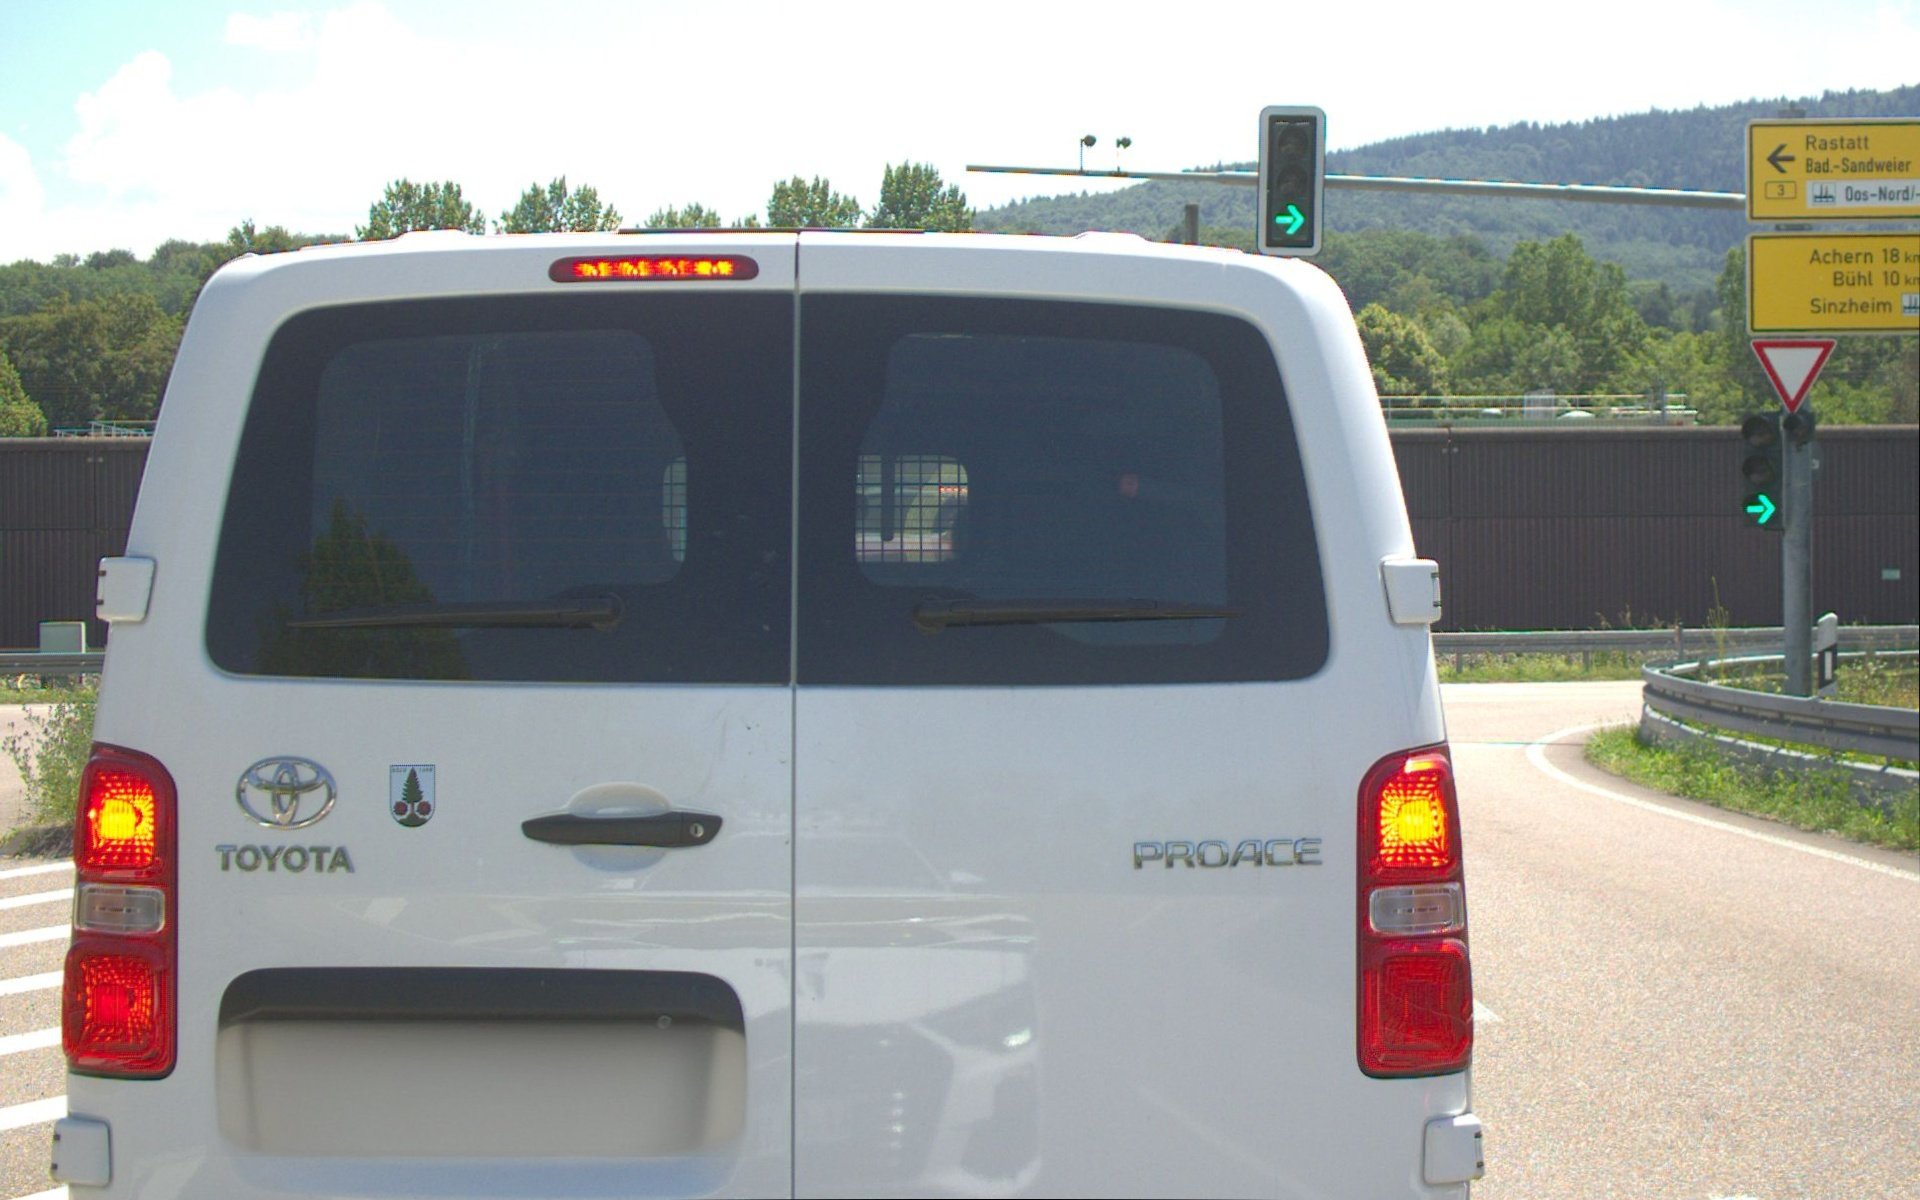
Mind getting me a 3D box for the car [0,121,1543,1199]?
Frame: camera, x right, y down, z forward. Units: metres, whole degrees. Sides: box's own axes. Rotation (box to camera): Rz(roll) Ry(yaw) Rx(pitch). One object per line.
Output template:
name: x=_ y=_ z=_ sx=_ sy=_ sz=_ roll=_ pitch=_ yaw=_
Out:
car: x=-0.264 y=0.439 z=5.950 sx=1.814 sy=2.011 sz=4.000 roll=0 pitch=1 yaw=-1
